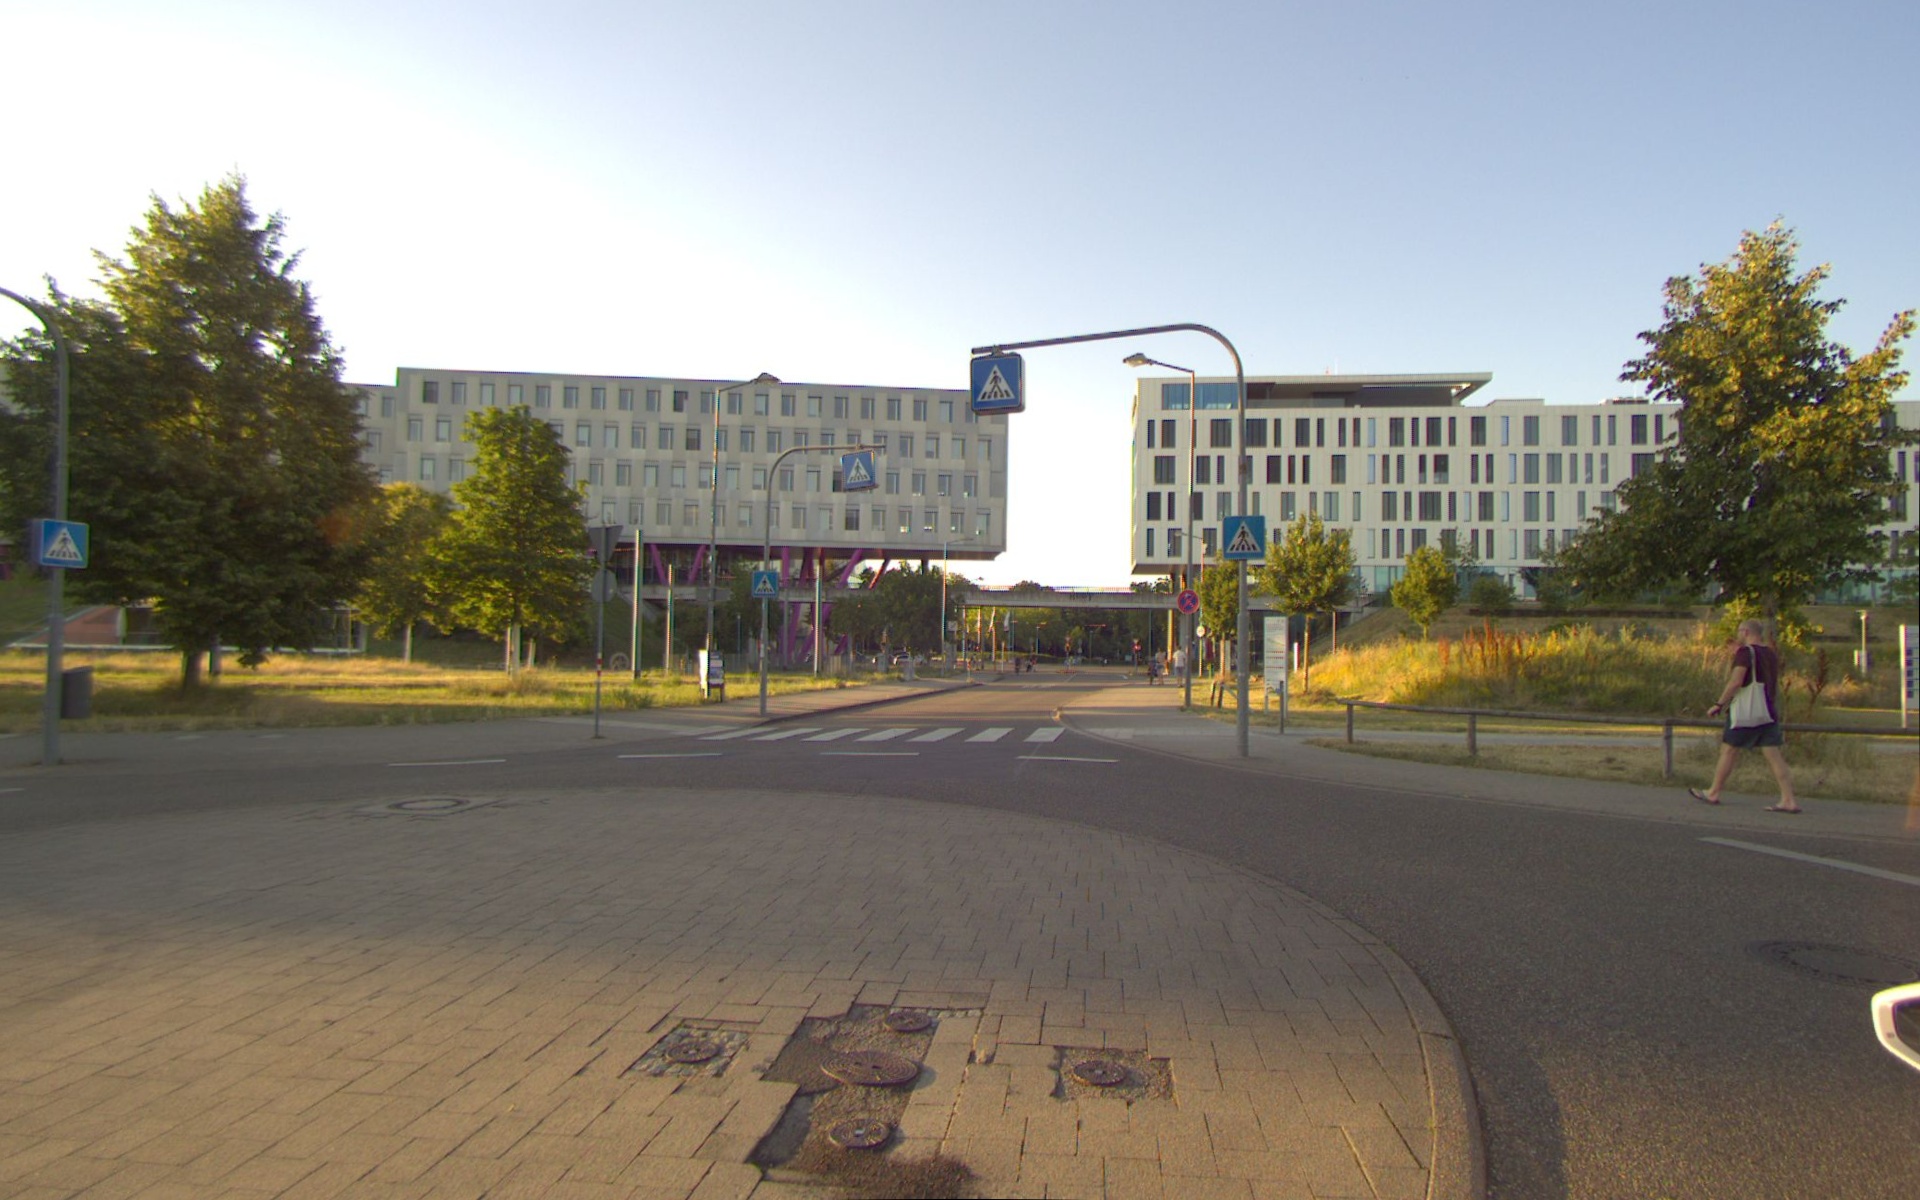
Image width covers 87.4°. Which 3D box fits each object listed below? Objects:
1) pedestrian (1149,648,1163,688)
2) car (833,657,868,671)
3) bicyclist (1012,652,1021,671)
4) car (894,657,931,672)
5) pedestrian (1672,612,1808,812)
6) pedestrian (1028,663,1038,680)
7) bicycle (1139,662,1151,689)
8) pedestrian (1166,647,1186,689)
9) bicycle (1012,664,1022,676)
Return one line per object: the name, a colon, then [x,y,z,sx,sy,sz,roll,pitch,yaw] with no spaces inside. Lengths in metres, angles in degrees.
pedestrian: [9.270,3.208,47.528,0.584,1.825,0.818,0,-2,15]
car: [-14.891,8.750,136.947,4.391,1.840,1.946,1,-2,6]
bicyclist: [4.977,5.407,88.118,0.604,1.684,1.037,0,-2,13]
car: [-6.025,8.170,127.752,4.338,1.747,1.836,1,-2,6]
pedestrian: [7.418,1.030,9.592,0.719,1.808,0.802,0,-2,10]
pedestrian: [8.151,7.949,111.988,1.037,1.858,0.895,1,-2,-5]
bicycle: [8.787,3.551,47.603,0.442,1.184,1.942,0,-2,14]
pedestrian: [9.351,2.928,43.466,0.817,1.789,0.818,0,-2,15]
bicycle: [4.983,6.129,88.120,0.529,1.056,1.926,0,-2,13]
